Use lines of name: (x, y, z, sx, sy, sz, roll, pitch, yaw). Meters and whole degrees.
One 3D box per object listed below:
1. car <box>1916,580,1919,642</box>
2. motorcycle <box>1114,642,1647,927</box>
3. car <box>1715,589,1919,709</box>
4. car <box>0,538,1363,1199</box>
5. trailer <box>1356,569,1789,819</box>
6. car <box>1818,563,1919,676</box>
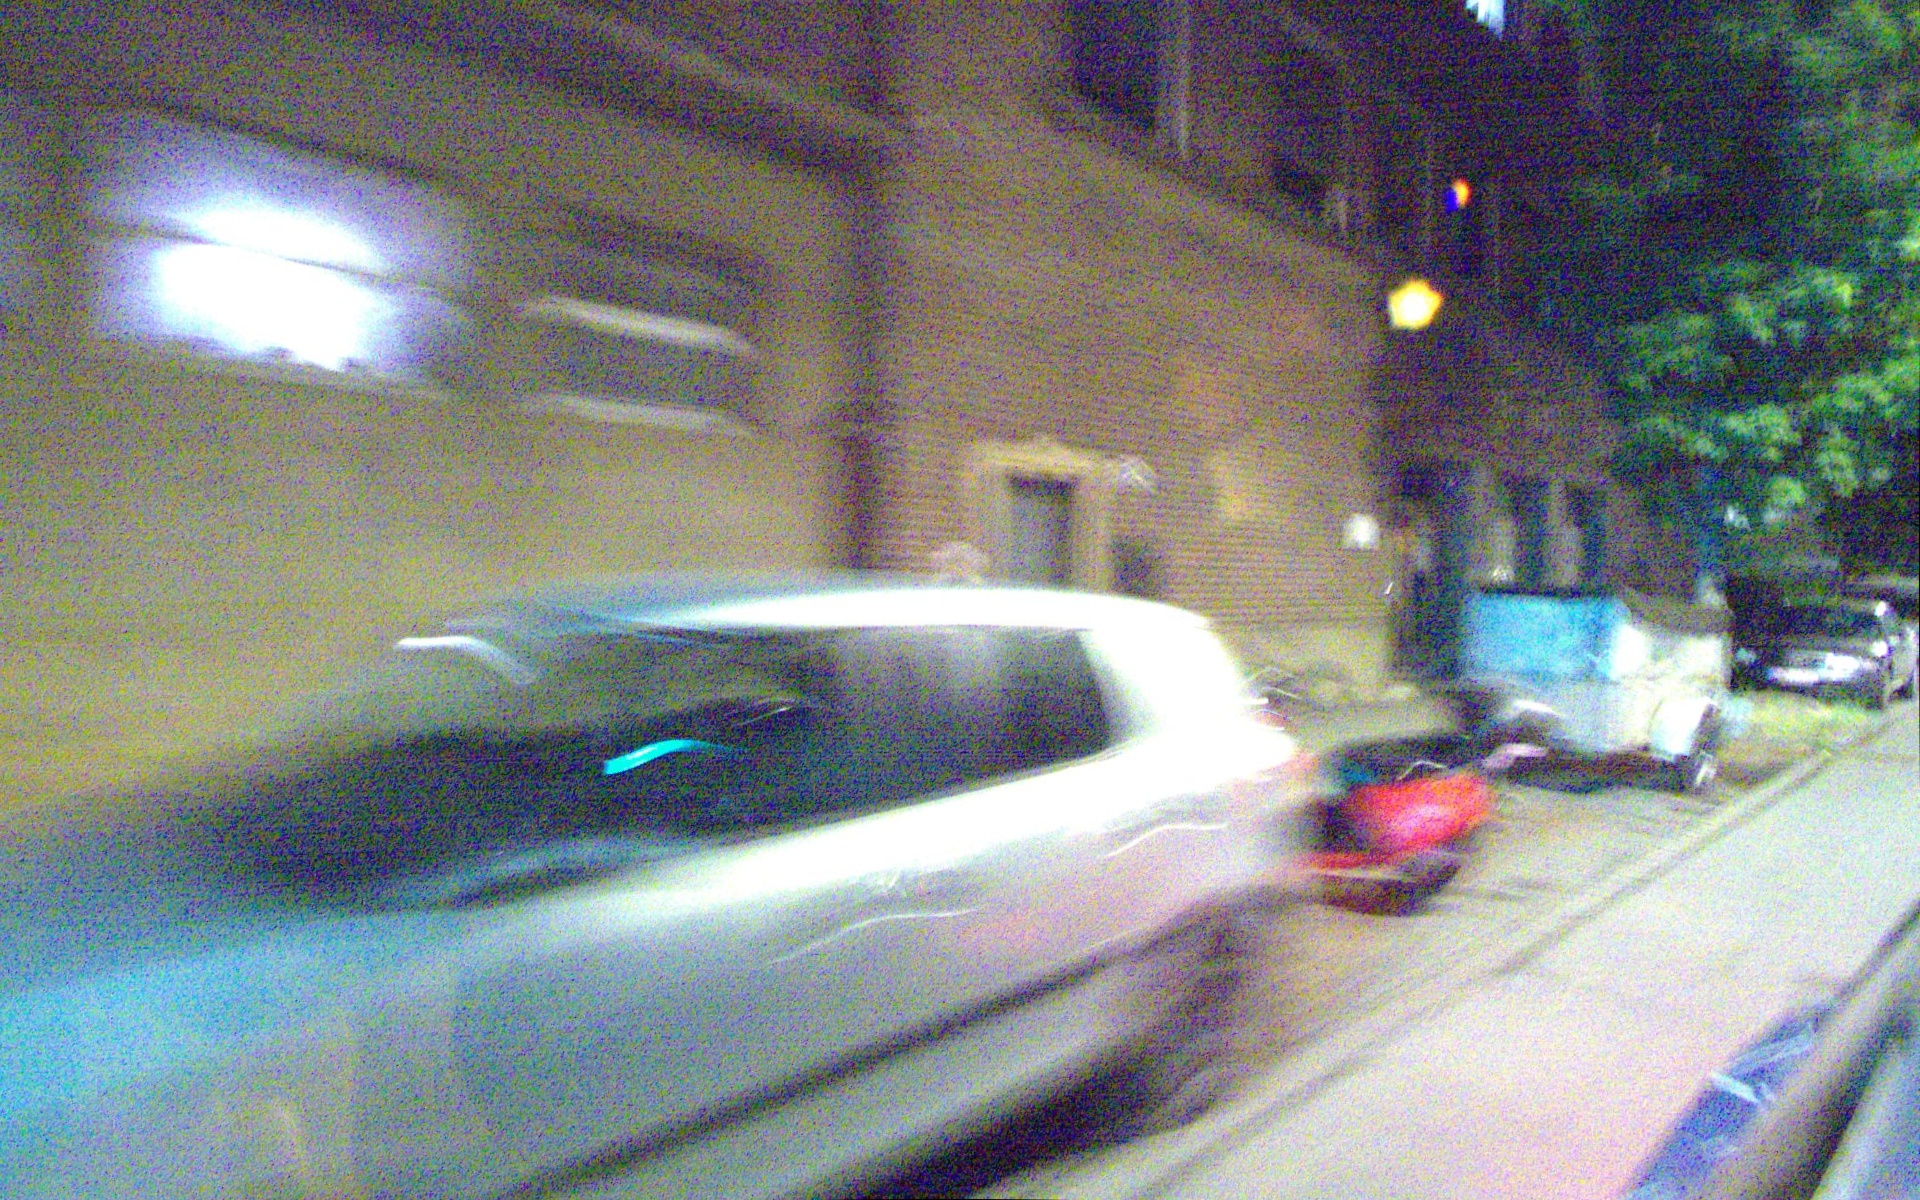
car: (27.469, 0.318, 27.456, 3.710, 1.685, 1.932, 0, 3, -43)
motorcycle: (1.892, 0.802, 4.710, 2.182, 1.145, 0.730, 1, 1, -6)
car: (12.532, 0.595, 14.461, 4.343, 1.375, 1.780, 0, 3, -40)
car: (-0.728, 0.640, 2.581, 3.727, 1.479, 1.591, 0, 2, -38)
trailer: (4.874, 0.553, 7.901, 3.664, 1.514, 1.605, 0, 1, -36)
car: (17.059, 0.311, 18.350, 4.349, 1.794, 1.778, 0, 3, -44)
